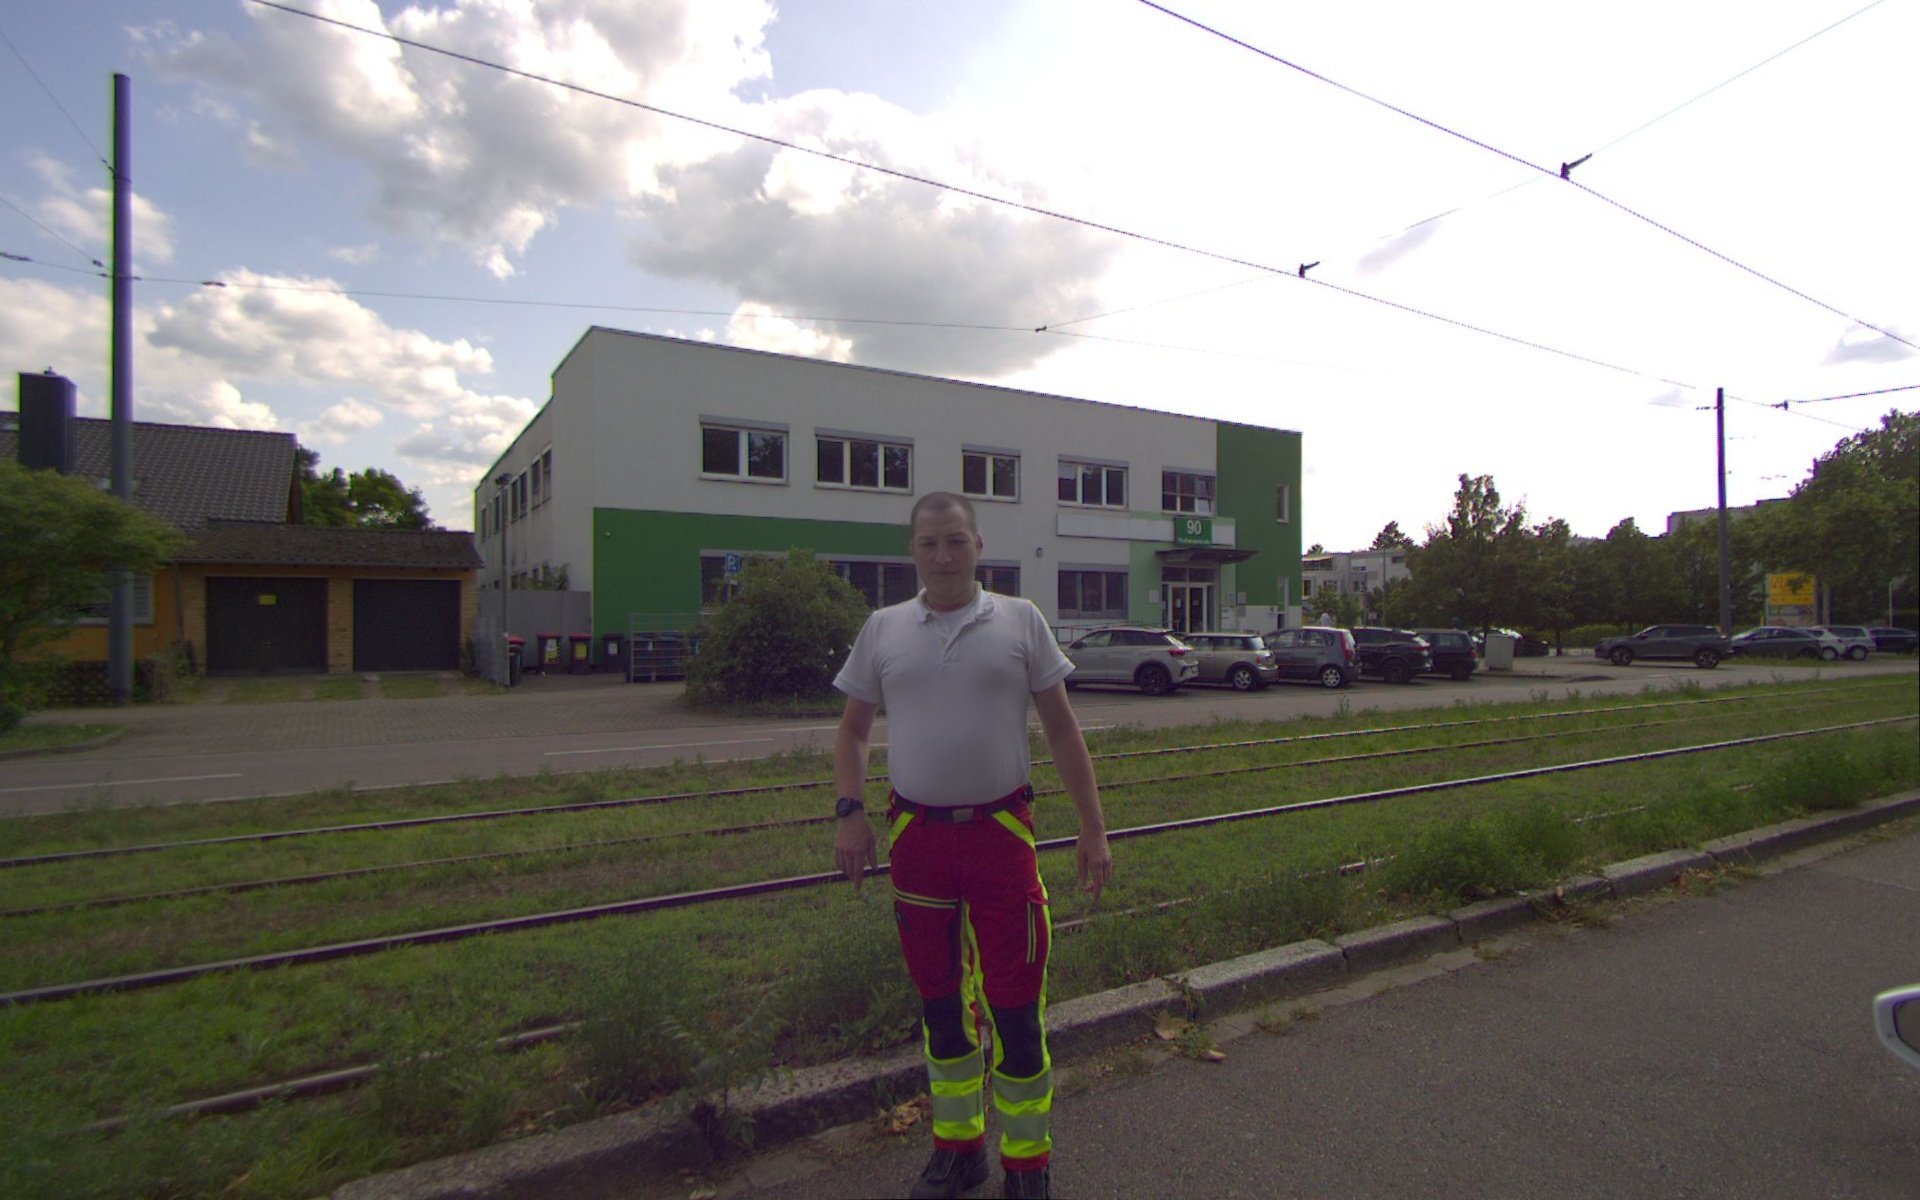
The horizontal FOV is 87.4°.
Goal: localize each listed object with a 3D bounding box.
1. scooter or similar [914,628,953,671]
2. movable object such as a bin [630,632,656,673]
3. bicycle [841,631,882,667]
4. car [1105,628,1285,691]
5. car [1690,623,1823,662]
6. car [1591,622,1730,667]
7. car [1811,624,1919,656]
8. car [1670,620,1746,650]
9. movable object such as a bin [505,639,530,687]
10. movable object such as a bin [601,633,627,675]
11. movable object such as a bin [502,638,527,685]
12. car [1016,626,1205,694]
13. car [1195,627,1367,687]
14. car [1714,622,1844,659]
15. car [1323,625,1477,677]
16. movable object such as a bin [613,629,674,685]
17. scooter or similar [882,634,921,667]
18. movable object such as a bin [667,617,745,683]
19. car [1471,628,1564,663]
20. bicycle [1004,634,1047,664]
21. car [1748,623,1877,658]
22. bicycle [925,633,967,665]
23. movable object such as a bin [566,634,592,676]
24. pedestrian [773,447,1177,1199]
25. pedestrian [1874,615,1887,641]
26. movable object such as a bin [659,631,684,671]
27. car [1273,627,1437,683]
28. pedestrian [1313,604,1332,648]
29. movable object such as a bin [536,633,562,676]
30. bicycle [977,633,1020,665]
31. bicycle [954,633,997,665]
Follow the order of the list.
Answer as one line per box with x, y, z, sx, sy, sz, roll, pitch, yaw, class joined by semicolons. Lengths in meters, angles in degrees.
-0.789;1.449;29.608;1.073;1.171;1.306;2;0;-2;scooter or similar
-8.593;1.422;27.225;0.558;1.056;0.565;0;1;-31;movable object such as a bin
-2.953;1.449;30.008;0.453;0.999;1.848;2;0;-30;bicycle
6.044;1.476;25.902;4.160;1.501;1.880;-1;-2;30;car
34.331;1.800;43.444;4.154;1.501;1.882;1;-1;23;car
26.167;1.622;37.675;4.164;1.501;1.878;1;-1;34;car
46.169;2.003;50.985;4.151;1.501;1.883;1;-1;19;car
48.525;2.257;65.251;1.960;1.773;4.000;1;0;0;car
-10.183;1.446;23.110;0.476;1.056;0.502;0;1;-31;movable object such as a bin
-9.253;1.435;26.852;0.558;1.056;0.565;0;1;-31;movable object such as a bin
-10.462;1.440;23.592;0.474;1.056;0.491;0;1;-31;movable object such as a bin
3.631;1.405;24.231;4.155;1.501;1.882;-1;-2;25;car
8.695;1.510;27.284;4.160;1.501;1.880;-1;-2;30;car
36.698;1.785;45.131;4.154;1.501;1.882;1;-1;23;car
13.522;1.542;30.881;4.160;1.501;1.880;-1;-2;30;car
-7.601;1.350;24.106;1.241;1.251;1.001;0;1;-29;movable object such as a bin
-1.817;1.544;30.985;0.453;0.911;1.726;2;0;-30;scooter or similar
-6.286;1.207;24.865;1.691;1.540;1.001;0;1;-29;movable object such as a bin
29.184;2.363;52.686;1.755;1.586;3.970;2;0;-28;car
2.149;1.607;33.266;0.453;0.911;1.848;2;0;-30;bicycle
39.374;1.850;46.541;4.154;1.501;1.882;1;-1;23;car
-0.470;1.531;31.673;0.453;0.911;1.848;2;0;-30;bicycle
-10.008;1.428;26.356;0.558;1.056;0.565;0;1;-31;movable object such as a bin
0.022;0.562;2.419;0.790;1.709;0.851;1;0;-2;pedestrian
58.871;1.791;64.217;0.597;1.699;0.463;1;-1;-33;pedestrian
-7.930;1.397;27.615;0.558;1.056;0.565;0;1;-31;movable object such as a bin
11.318;1.529;28.838;4.160;1.501;1.880;-1;-2;30;car
15.307;1.109;42.441;0.503;1.852;0.543;1;-1;-33;pedestrian
-10.617;1.399;25.956;0.558;1.056;0.565;0;1;-31;movable object such as a bin
1.238;1.586;32.755;0.453;0.911;1.848;2;0;-30;bicycle
0.478;1.562;32.293;0.453;0.911;1.848;2;0;-30;bicycle
